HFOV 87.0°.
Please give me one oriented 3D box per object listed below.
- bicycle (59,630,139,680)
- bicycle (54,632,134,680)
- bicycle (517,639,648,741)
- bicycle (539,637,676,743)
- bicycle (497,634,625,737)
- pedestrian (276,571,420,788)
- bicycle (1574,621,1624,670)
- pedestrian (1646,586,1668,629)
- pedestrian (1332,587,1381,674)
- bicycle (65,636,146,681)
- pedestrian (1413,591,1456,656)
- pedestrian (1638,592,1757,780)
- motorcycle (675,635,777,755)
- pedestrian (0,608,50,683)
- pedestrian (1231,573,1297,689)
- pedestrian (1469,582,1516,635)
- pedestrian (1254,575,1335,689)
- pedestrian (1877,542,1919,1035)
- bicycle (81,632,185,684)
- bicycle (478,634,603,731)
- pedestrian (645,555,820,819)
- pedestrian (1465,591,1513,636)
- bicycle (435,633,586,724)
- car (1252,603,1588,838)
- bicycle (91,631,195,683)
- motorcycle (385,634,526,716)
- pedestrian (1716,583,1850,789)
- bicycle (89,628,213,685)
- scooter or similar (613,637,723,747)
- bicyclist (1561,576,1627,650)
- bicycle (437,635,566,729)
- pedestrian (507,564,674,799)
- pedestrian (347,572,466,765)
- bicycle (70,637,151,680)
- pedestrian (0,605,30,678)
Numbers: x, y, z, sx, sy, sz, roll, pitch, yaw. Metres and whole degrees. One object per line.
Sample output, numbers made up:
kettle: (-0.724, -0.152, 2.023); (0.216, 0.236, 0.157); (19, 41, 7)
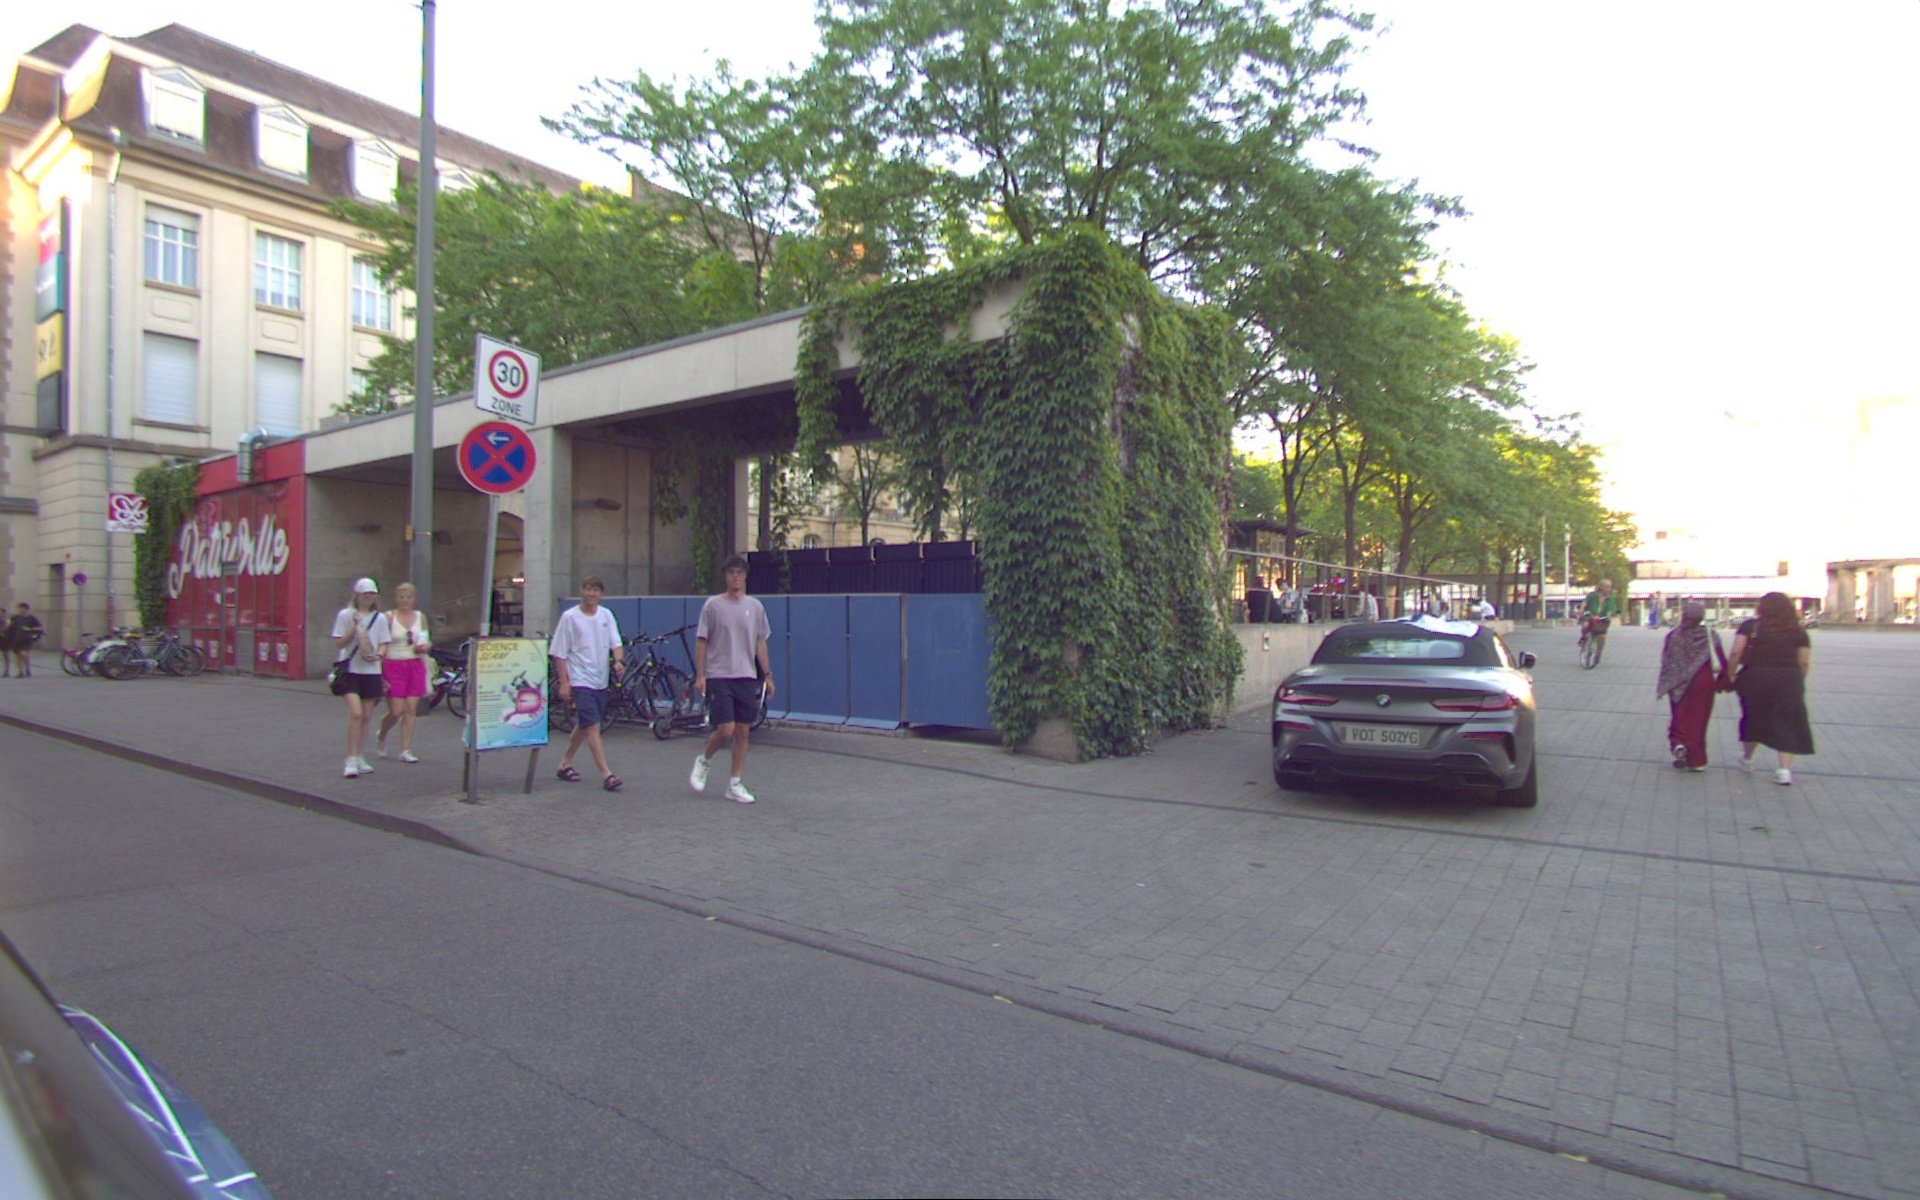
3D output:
bicycle: (-21.067, 1.332, 24.784); (0.311, 1.149, 1.487); (-1, 0, 28)
bicycle: (-21.351, 1.361, 24.977); (0.311, 1.084, 1.487); (-1, 0, 28)
bicycle: (-4.479, 1.033, 12.092); (0.441, 1.077, 1.481); (-1, 0, 33)
bicycle: (-4.092, 1.010, 11.836); (0.546, 1.096, 1.481); (-1, 0, 33)
bicycle: (-4.816, 1.001, 12.305); (0.410, 1.120, 1.481); (-1, 0, 33)
pedestrian: (-5.450, 0.660, 9.022); (0.868, 1.807, 0.841); (-1, 0, 39)
bicycle: (12.351, 0.863, 19.555); (0.639, 0.888, 1.609); (-1, -1, 38)
pedestrian: (32.598, 0.345, 47.329); (0.727, 1.963, 0.797); (0, -1, 28)
pedestrian: (8.070, 0.607, 20.601); (0.802, 1.740, 0.616); (-1, -1, 35)
bicycle: (-20.777, 1.405, 24.637); (0.311, 0.986, 1.487); (-1, 0, 28)
pedestrian: (12.813, 0.630, 27.336); (0.919, 1.740, 0.694); (-1, -1, 35)
pedestrian: (6.441, 0.713, 8.845); (0.583, 1.554, 0.681); (-1, 0, -37)
motorcycle: (-2.515, 0.986, 11.070); (0.530, 1.135, 1.826); (-1, 0, 5)
pedestrian: (-22.401, 1.066, 24.268); (0.821, 1.740, 0.922); (0, -1, -40)
pedestrian: (4.867, 0.480, 16.194); (0.797, 1.795, 0.752); (0, -1, 38)
pedestrian: (17.062, 0.284, 32.410); (1.264, 1.660, 0.700); (-1, -1, 34)
pedestrian: (5.587, 0.523, 16.893); (1.120, 1.833, 0.694); (-1, -1, 36)
pedestrian: (3.659, 0.637, 3.177); (0.873, 1.681, 0.712); (-1, 0, 10)
bicycle: (-19.003, 1.316, 23.289); (0.354, 1.091, 1.820); (-1, 0, 42)
bicycle: (-5.257, 1.004, 12.759); (0.410, 1.096, 1.481); (-1, 0, 33)
pedestrian: (-1.772, 0.625, 7.922); (0.889, 1.898, 0.972); (-1, 0, 39)
pedestrian: (16.628, 0.430, 31.809); (1.264, 1.390, 0.729); (-1, -1, 33)
bicycle: (-6.120, 1.040, 13.870); (0.549, 1.095, 1.849); (-1, 0, 38)
car: (4.186, 0.792, 8.890); (2.098, 1.441, 4.404); (-1, 0, 30)
bicycle: (-18.601, 1.279, 23.074); (0.354, 1.091, 1.820); (-1, 0, 42)
motorcycle: (-7.314, 1.067, 14.738); (1.797, 1.077, 0.535); (-1, 0, -25)
pedestrian: (6.820, 0.665, 8.387); (0.799, 1.594, 0.720); (-1, 0, 43)
bicycle: (-18.271, 1.243, 22.904); (0.445, 1.164, 2.152); (-1, 0, 42)
scooter or similar: (-3.259, 0.997, 11.406); (0.408, 1.096, 1.488); (-1, 0, 19)
bicyclist: (12.377, 0.245, 19.757); (1.010, 1.400, 0.691); (-1, -1, 39)
bicycle: (-5.962, 1.040, 13.217); (0.436, 1.096, 1.476); (-1, 0, 43)
pedestrian: (-3.078, 0.628, 8.458); (0.889, 1.807, 0.972); (-1, 0, 39)
pedestrian: (-5.481, 0.640, 10.026); (0.736, 1.807, 0.802); (-1, 0, 39)
bicycle: (-20.516, 1.398, 24.468); (0.311, 0.963, 1.487); (-1, 0, 28)
pedestrian: (-23.214, 1.000, 24.467); (0.700, 1.740, 0.911); (-1, -1, 32)
